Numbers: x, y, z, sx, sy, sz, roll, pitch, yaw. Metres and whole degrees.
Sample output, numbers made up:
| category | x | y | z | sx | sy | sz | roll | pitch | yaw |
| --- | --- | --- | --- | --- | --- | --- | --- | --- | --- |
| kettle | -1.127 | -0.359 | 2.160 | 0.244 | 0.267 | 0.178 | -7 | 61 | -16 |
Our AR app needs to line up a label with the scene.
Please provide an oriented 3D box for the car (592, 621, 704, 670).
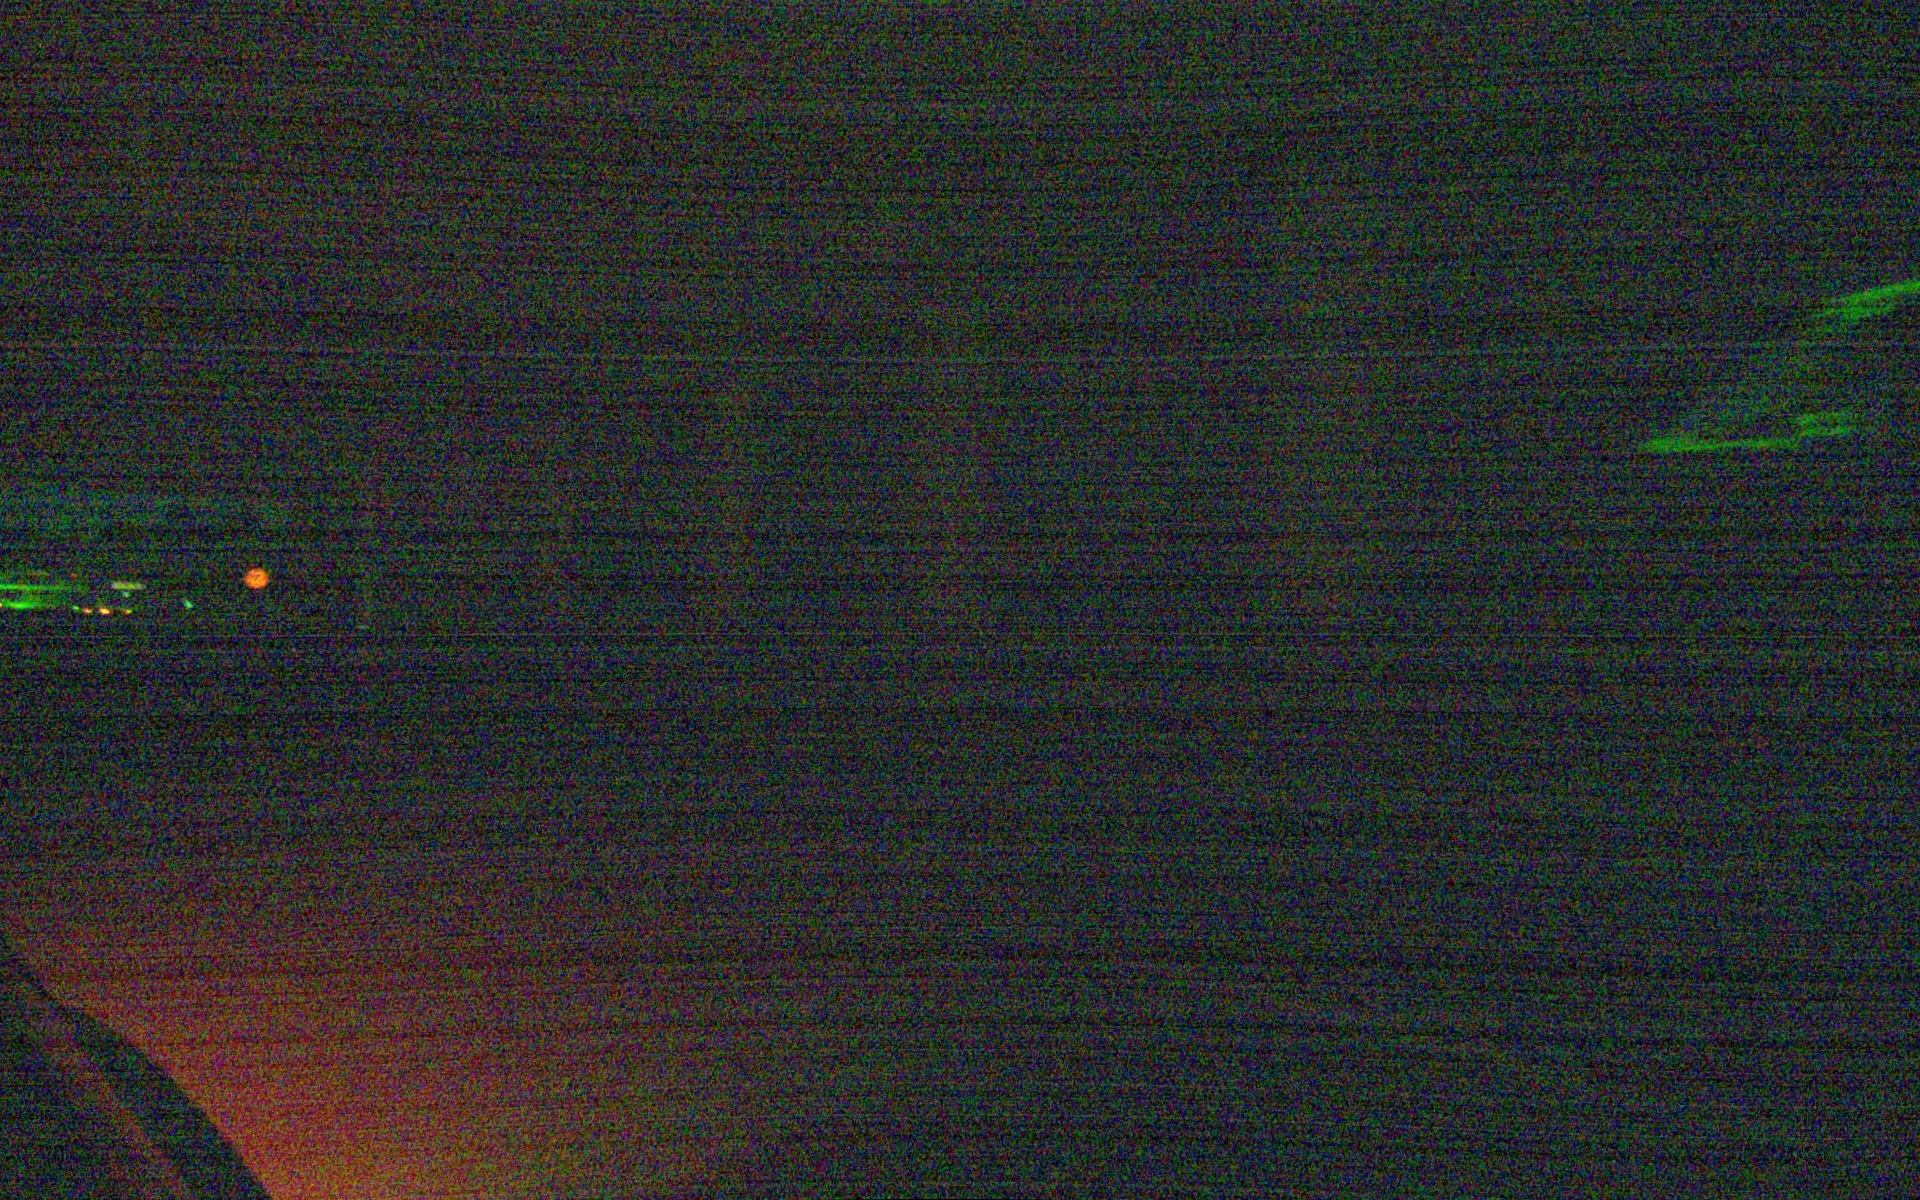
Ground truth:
| category | x | y | z | sx | sy | sz | roll | pitch | yaw |
| --- | --- | --- | --- | --- | --- | --- | --- | --- | --- |
| car | -10.426 | 1.466 | 33.736 | 4.000 | 1.519 | 1.806 | -1 | -1 | 43 |
